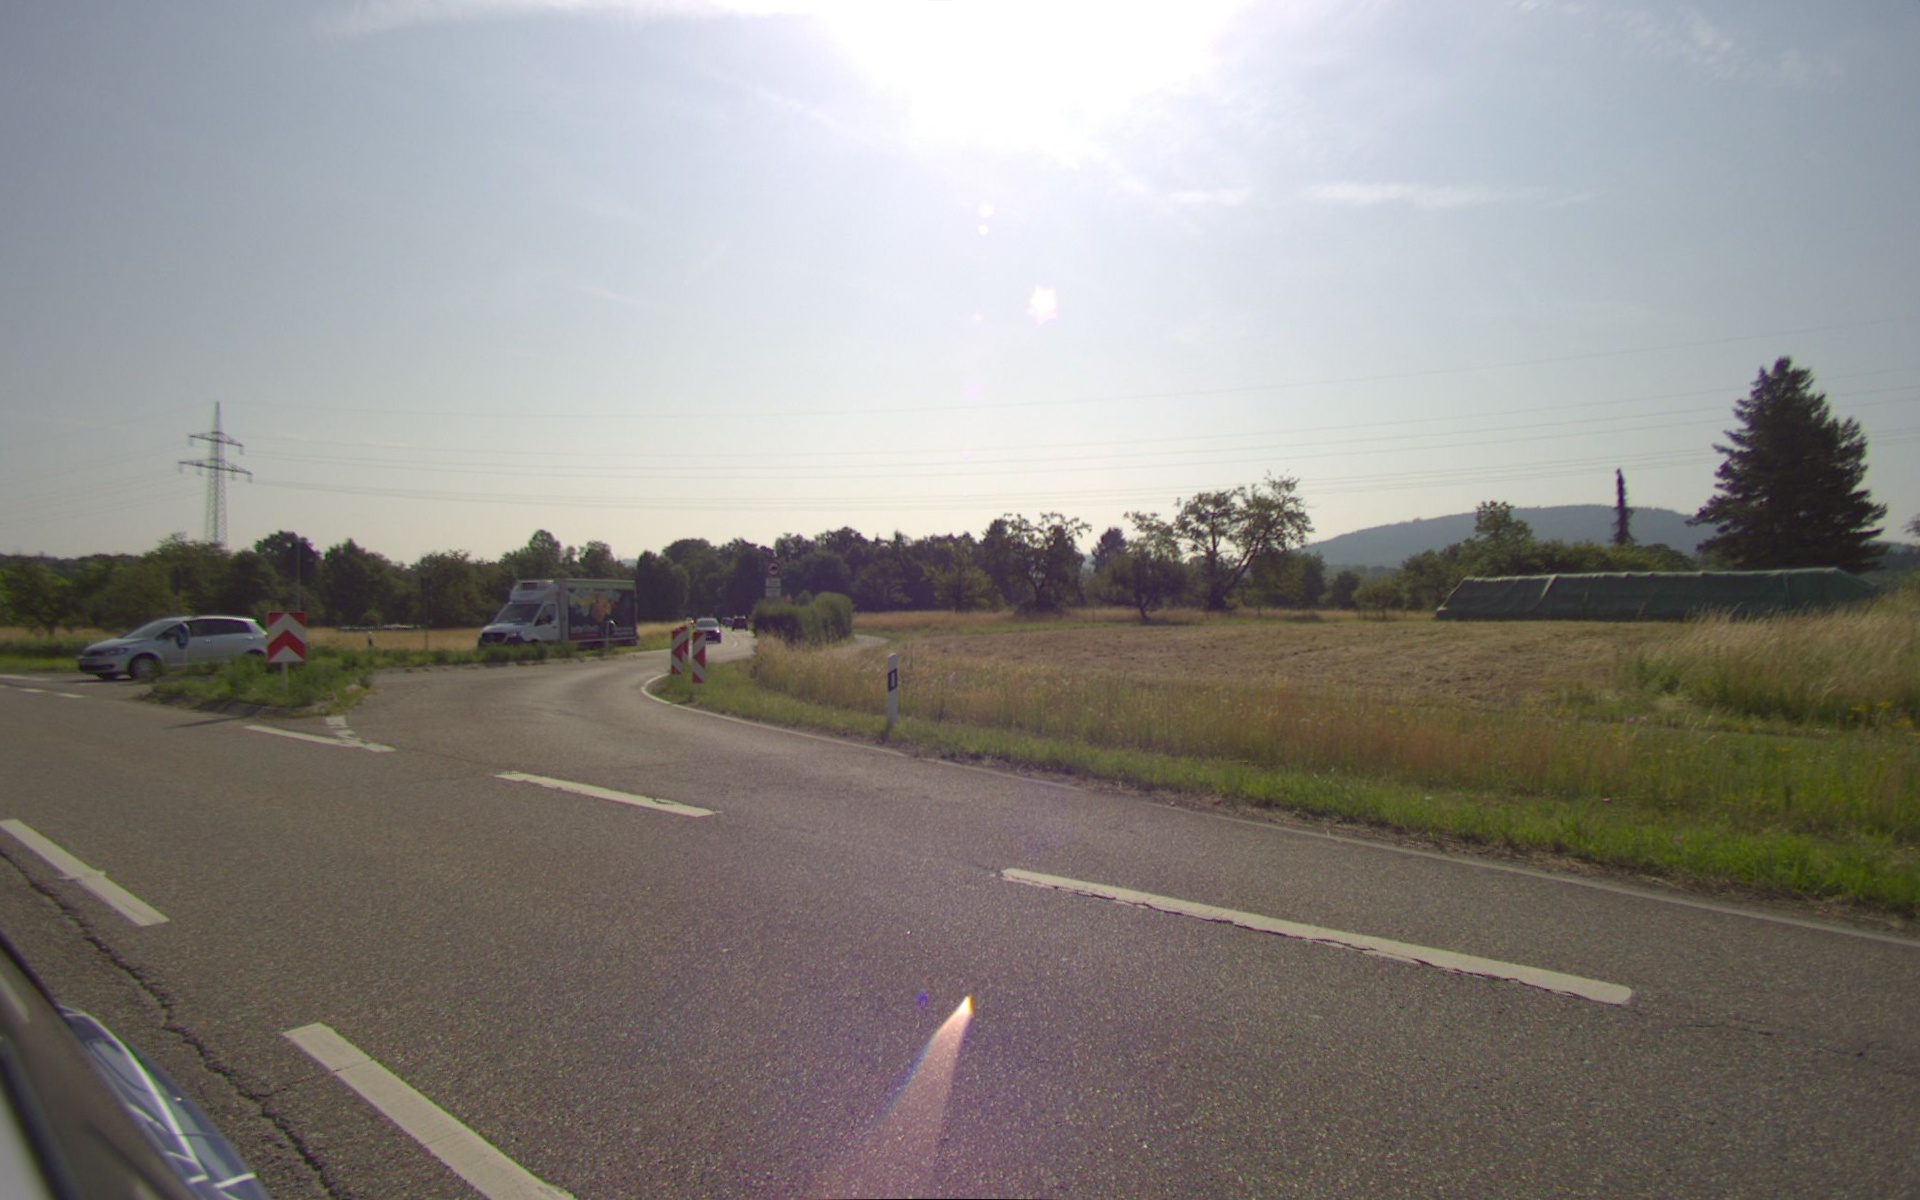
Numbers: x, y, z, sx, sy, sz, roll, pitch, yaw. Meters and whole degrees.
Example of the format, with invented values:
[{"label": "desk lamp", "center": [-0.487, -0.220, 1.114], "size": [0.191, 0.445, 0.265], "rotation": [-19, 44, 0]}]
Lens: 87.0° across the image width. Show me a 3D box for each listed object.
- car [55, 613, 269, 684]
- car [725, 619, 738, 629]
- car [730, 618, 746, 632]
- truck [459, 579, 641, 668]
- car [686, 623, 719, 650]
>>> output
[{"label": "car", "center": [-20.493, 1.196, 26.175], "size": [1.988, 1.592, 3.877], "rotation": [-1, 0, 24]}, {"label": "car", "center": [-36.589, 3.794, 161.956], "size": [1.787, 1.564, 4.011], "rotation": [-1, 0, -16]}, {"label": "car", "center": [-26.624, 2.935, 121.222], "size": [1.788, 1.564, 4.010], "rotation": [-1, 0, -12]}, {"label": "truck", "center": [-15.557, 0.864, 39.095], "size": [2.561, 3.068, 7.326], "rotation": [-1, -1, 16]}, {"label": "car", "center": [-16.375, 2.289, 64.538], "size": [1.788, 1.564, 4.009], "rotation": [-1, 0, -11]}]
